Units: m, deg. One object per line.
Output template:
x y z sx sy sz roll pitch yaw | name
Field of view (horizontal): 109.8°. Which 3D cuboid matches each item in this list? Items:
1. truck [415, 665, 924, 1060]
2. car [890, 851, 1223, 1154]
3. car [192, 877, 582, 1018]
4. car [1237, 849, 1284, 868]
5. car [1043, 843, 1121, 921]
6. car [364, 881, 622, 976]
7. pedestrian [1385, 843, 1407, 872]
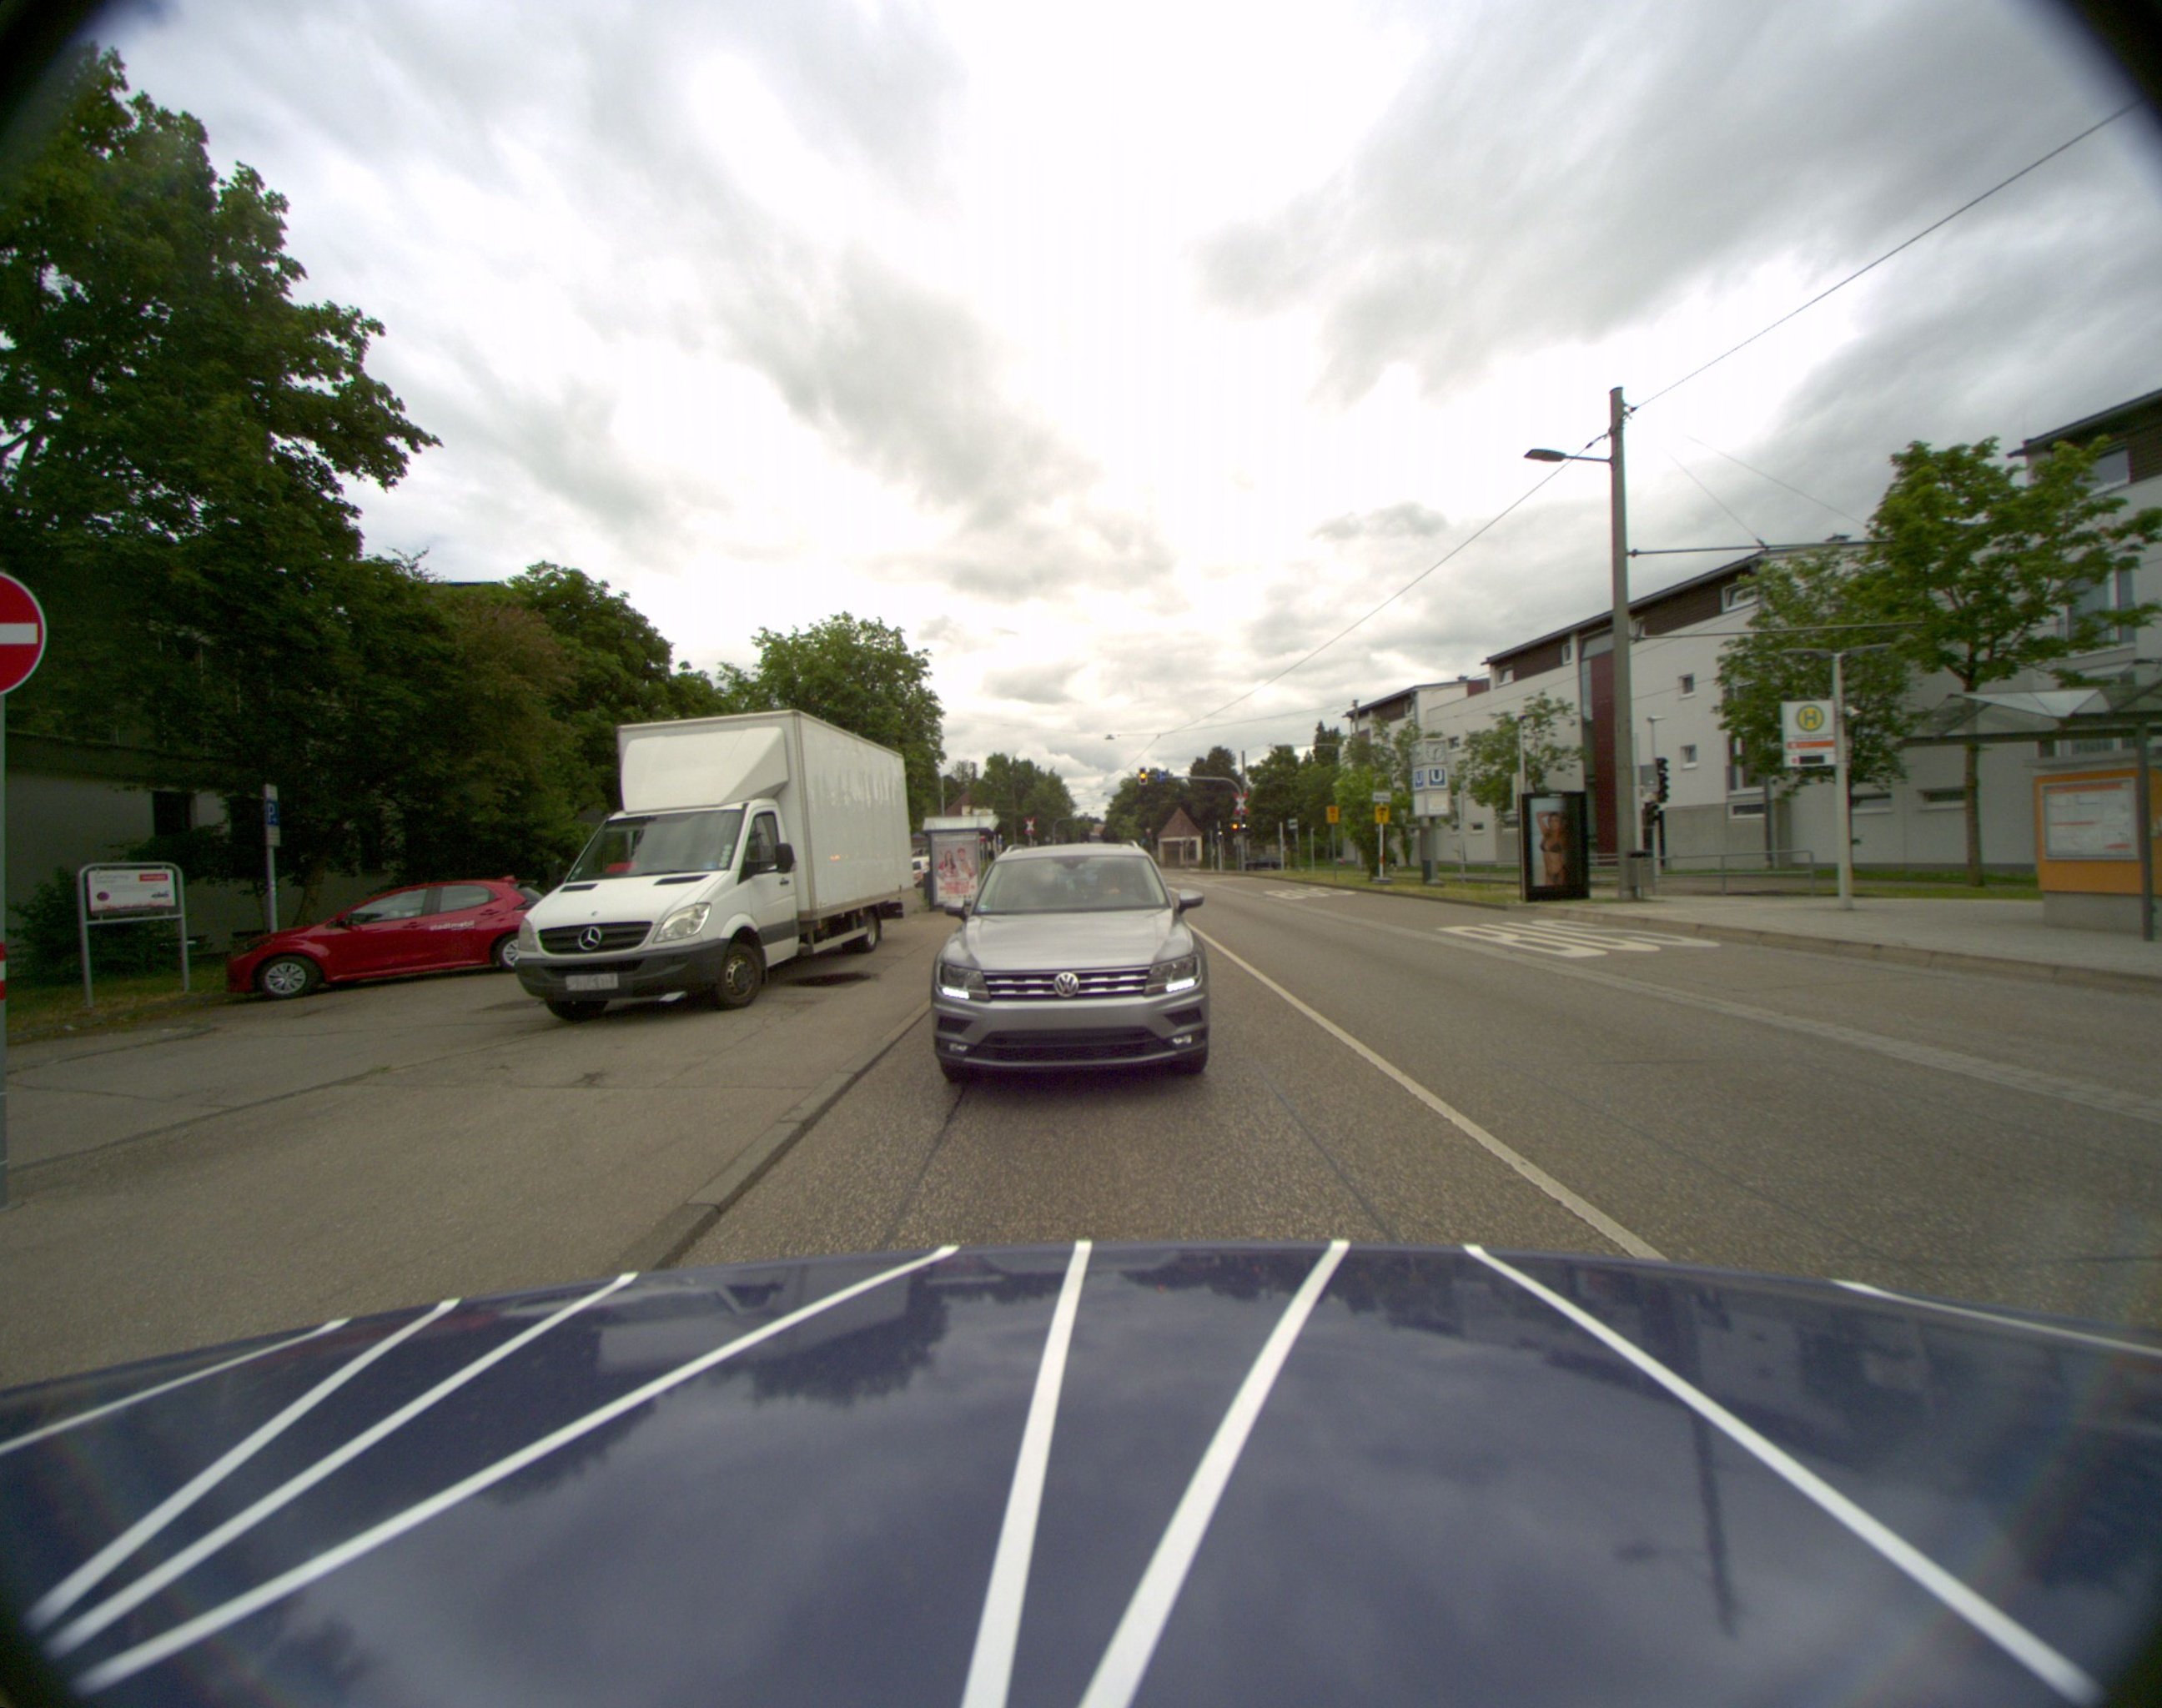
-4.449 0.029 10.626 2.541 3.407 7.775 -2 1 2 | truck
-0.108 0.832 6.443 1.811 1.638 4.330 -2 0 1 | car
-10.040 1.268 11.443 3.902 1.475 1.680 -5 2 -24 | car
17.446 0.432 73.975 3.998 1.696 1.928 -2 1 -3 | car
0.050 0.677 20.580 1.849 1.850 4.000 -2 0 1 | car
-11.951 1.441 15.814 4.005 1.402 1.521 -5 2 -31 | car
17.681 0.209 42.645 0.782 1.586 0.780 -2 1 -8 | pedestrian
